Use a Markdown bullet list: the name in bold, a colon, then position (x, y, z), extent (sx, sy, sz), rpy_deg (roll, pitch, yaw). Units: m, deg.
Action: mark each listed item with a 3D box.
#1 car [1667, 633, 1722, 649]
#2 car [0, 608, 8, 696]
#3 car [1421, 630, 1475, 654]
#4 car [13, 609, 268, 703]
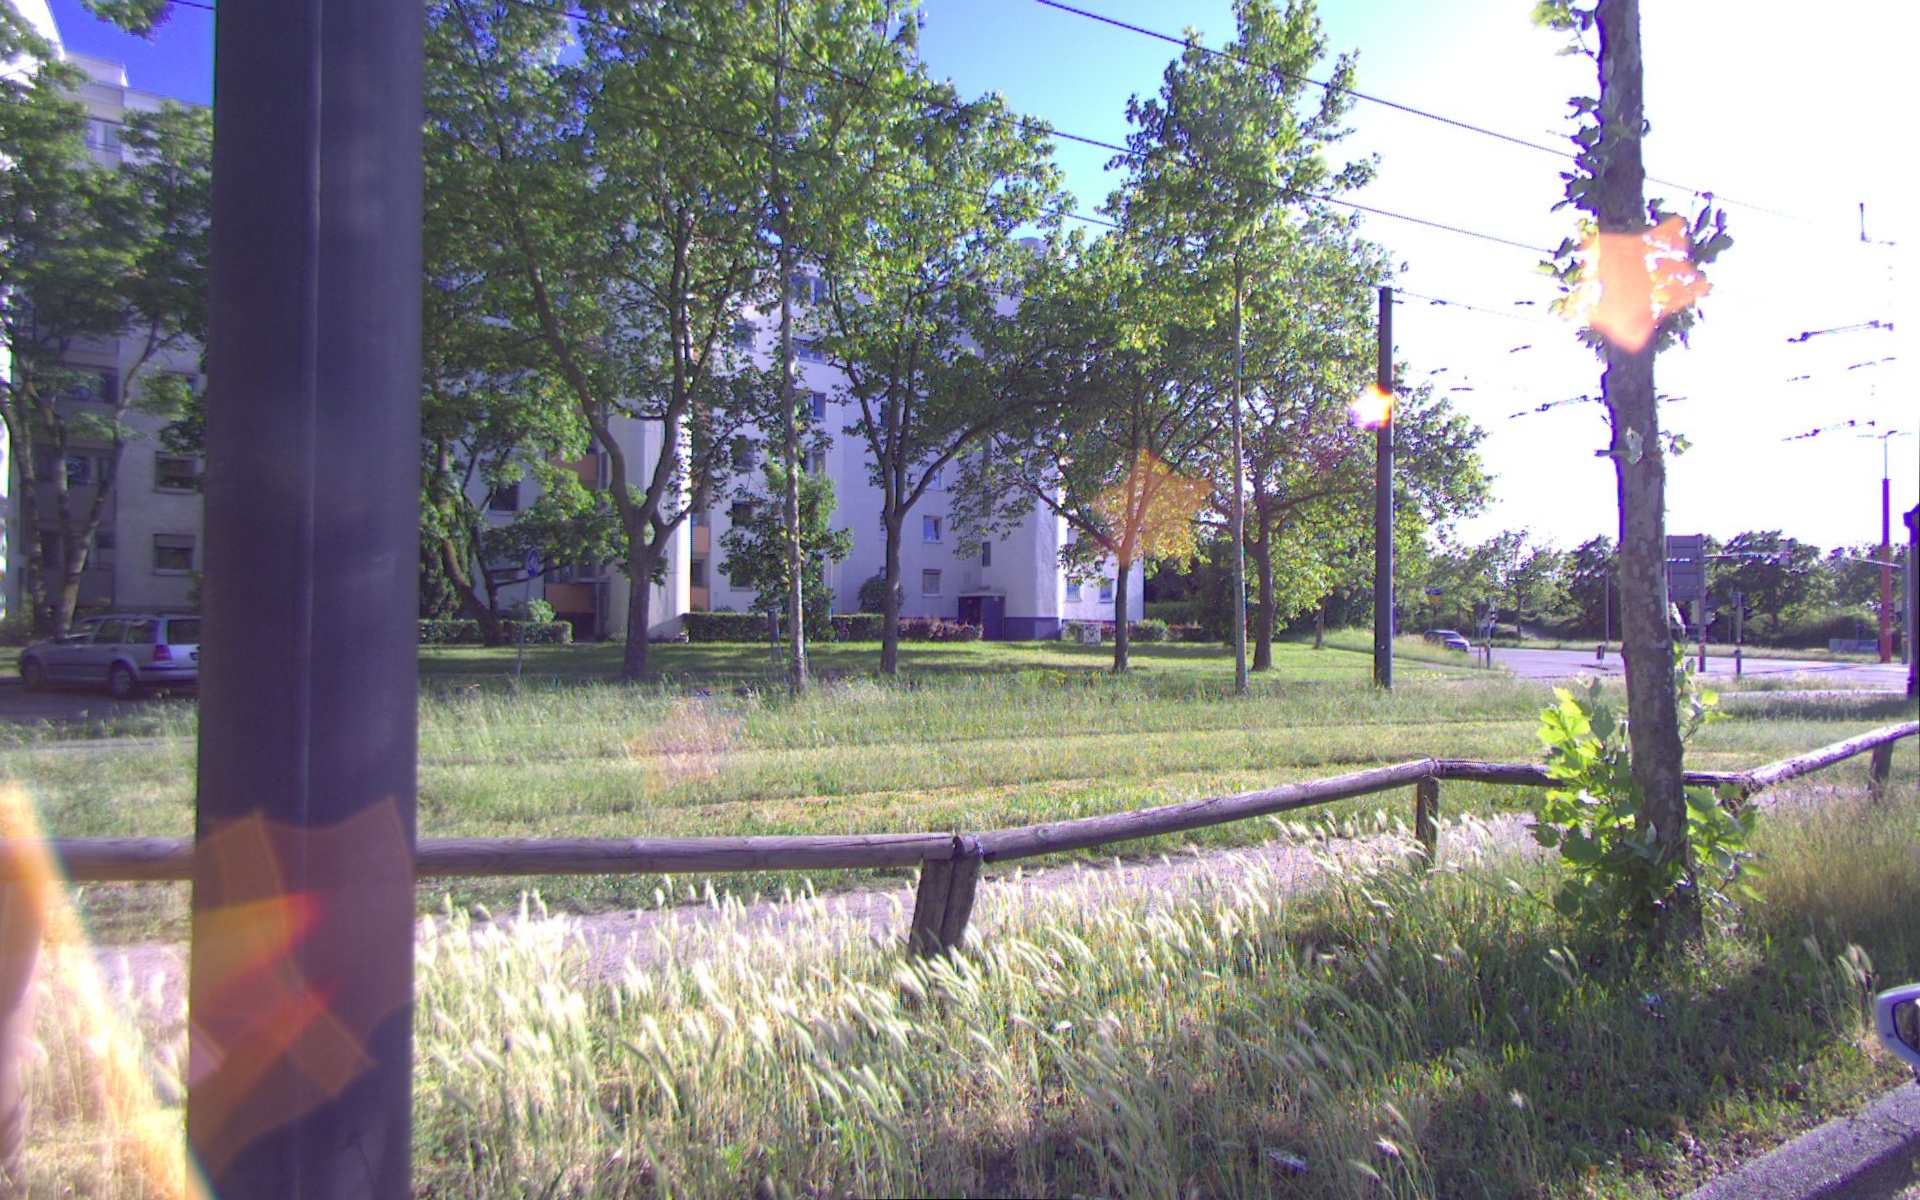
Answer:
- **car**: position (66.083, 3.658, 90.450), extent (1.907, 1.283, 3.998), rpy_deg (1, -1, -5)
- **car**: position (-18.441, 0.857, 17.009), extent (3.969, 1.506, 1.764), rpy_deg (1, 0, 20)
- **car**: position (37.980, 3.247, 78.323), extent (1.867, 1.798, 4.446), rpy_deg (-1, -1, -2)
- **car**: position (-14.951, 0.950, 18.348), extent (3.969, 1.506, 1.815), rpy_deg (1, 0, 20)
